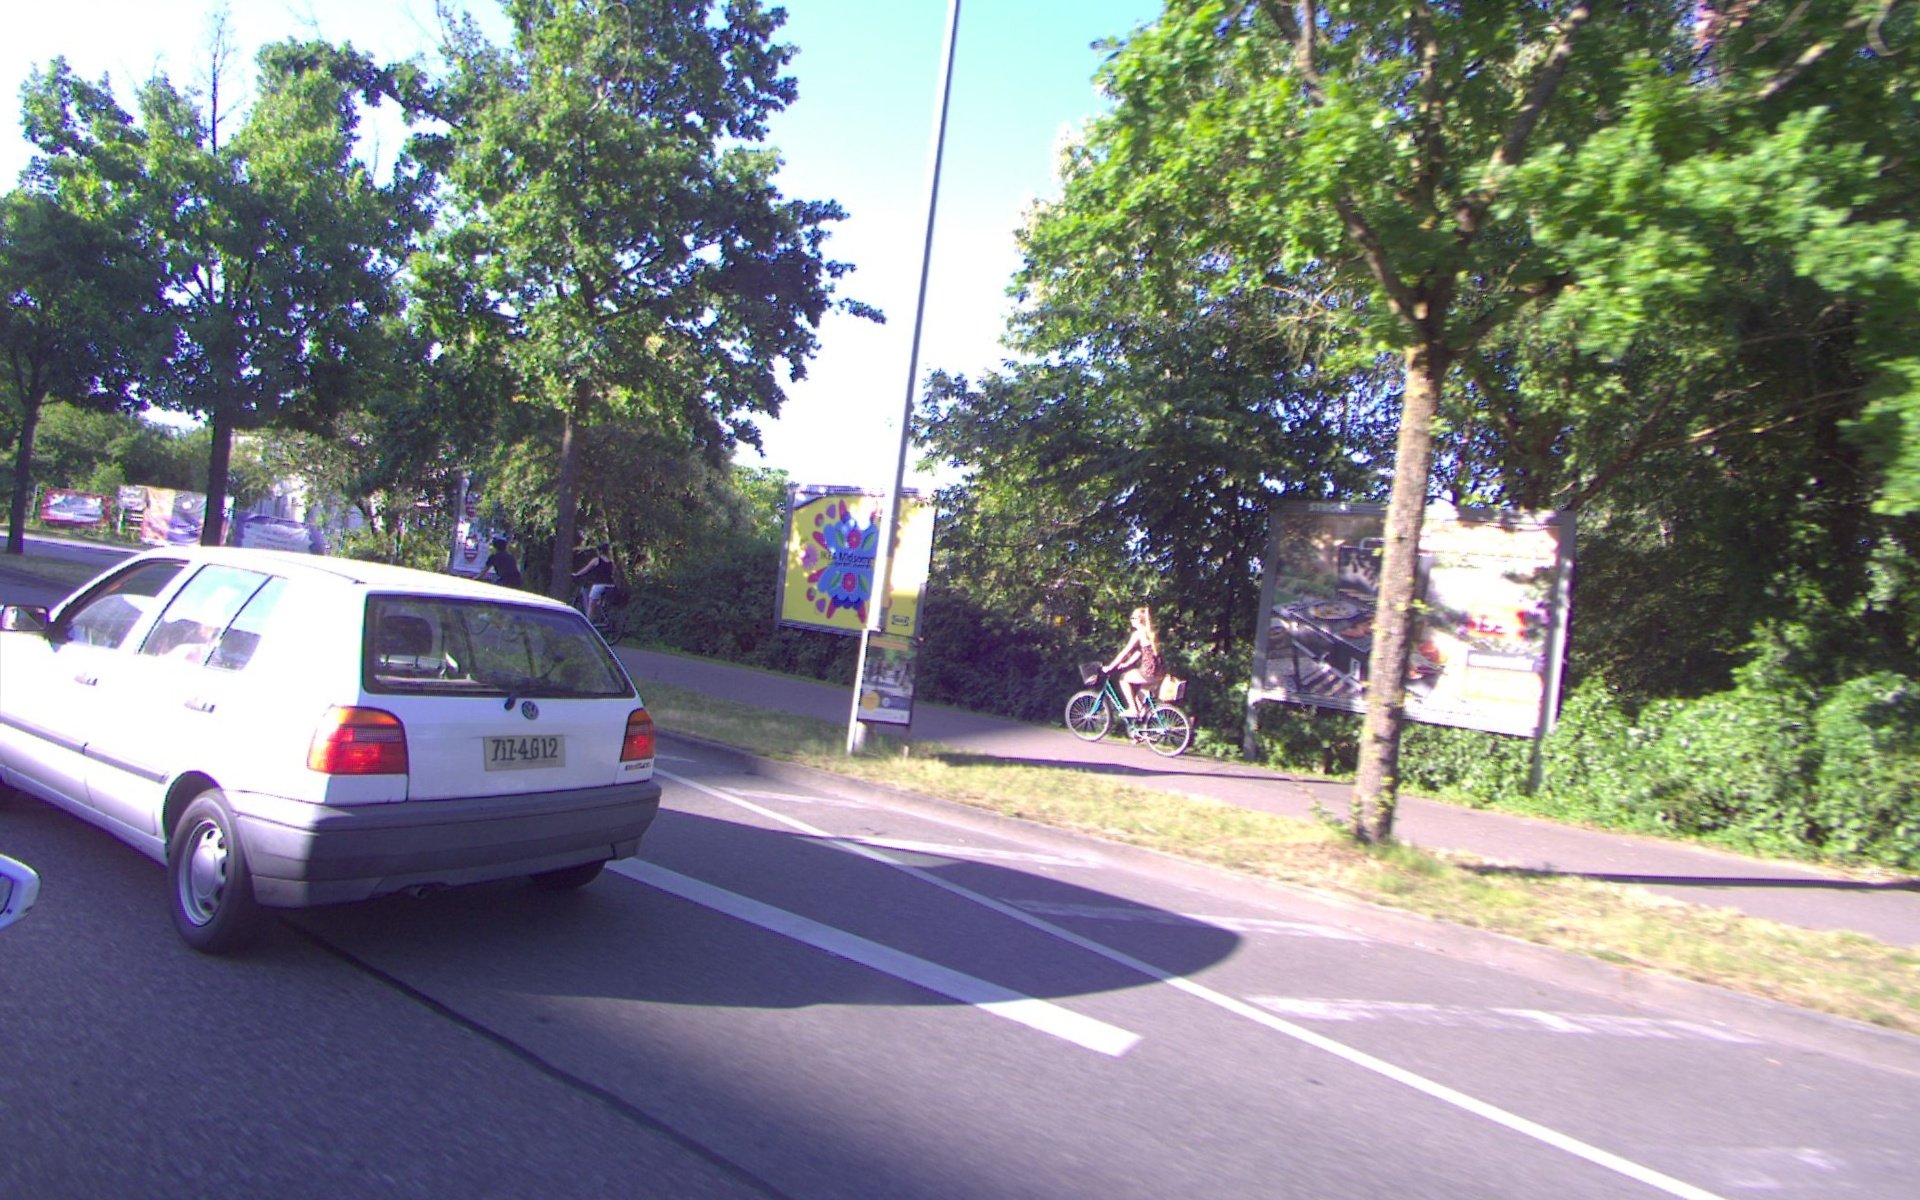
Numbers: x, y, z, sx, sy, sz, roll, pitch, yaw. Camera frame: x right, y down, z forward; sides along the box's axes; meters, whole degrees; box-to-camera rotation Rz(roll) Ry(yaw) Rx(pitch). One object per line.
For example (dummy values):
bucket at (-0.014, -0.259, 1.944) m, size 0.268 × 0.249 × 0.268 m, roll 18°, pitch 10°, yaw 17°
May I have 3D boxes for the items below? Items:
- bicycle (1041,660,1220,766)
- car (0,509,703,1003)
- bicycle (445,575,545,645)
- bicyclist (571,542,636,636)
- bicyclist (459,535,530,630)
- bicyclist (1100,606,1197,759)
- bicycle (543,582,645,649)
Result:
bicycle at (2.103, 1.375, 12.565) m, size 2.025 × 0.985 × 0.617 m, roll 7°, pitch 0°, yaw 33°
car at (-3.344, 0.457, 4.850) m, size 3.970 × 1.414 × 1.615 m, roll 6°, pitch -3°, yaw 31°
bicycle at (-7.977, 0.157, 17.223) m, size 1.792 × 0.985 × 0.617 m, roll 7°, pitch 0°, yaw 33°
bicyclist at (-6.564, -0.199, 18.519) m, size 0.834 × 1.597 × 0.604 m, roll 7°, pitch 0°, yaw 33°
bicyclist at (-7.981, -0.298, 17.247) m, size 0.834 × 1.520 × 0.613 m, roll 7°, pitch 0°, yaw 33°
bicyclist at (2.331, 1.008, 12.434) m, size 0.834 × 1.754 × 0.604 m, roll 7°, pitch 0°, yaw 33°
bicycle at (-6.791, 0.278, 18.631) m, size 2.025 × 0.985 × 0.617 m, roll 7°, pitch 0°, yaw 33°
